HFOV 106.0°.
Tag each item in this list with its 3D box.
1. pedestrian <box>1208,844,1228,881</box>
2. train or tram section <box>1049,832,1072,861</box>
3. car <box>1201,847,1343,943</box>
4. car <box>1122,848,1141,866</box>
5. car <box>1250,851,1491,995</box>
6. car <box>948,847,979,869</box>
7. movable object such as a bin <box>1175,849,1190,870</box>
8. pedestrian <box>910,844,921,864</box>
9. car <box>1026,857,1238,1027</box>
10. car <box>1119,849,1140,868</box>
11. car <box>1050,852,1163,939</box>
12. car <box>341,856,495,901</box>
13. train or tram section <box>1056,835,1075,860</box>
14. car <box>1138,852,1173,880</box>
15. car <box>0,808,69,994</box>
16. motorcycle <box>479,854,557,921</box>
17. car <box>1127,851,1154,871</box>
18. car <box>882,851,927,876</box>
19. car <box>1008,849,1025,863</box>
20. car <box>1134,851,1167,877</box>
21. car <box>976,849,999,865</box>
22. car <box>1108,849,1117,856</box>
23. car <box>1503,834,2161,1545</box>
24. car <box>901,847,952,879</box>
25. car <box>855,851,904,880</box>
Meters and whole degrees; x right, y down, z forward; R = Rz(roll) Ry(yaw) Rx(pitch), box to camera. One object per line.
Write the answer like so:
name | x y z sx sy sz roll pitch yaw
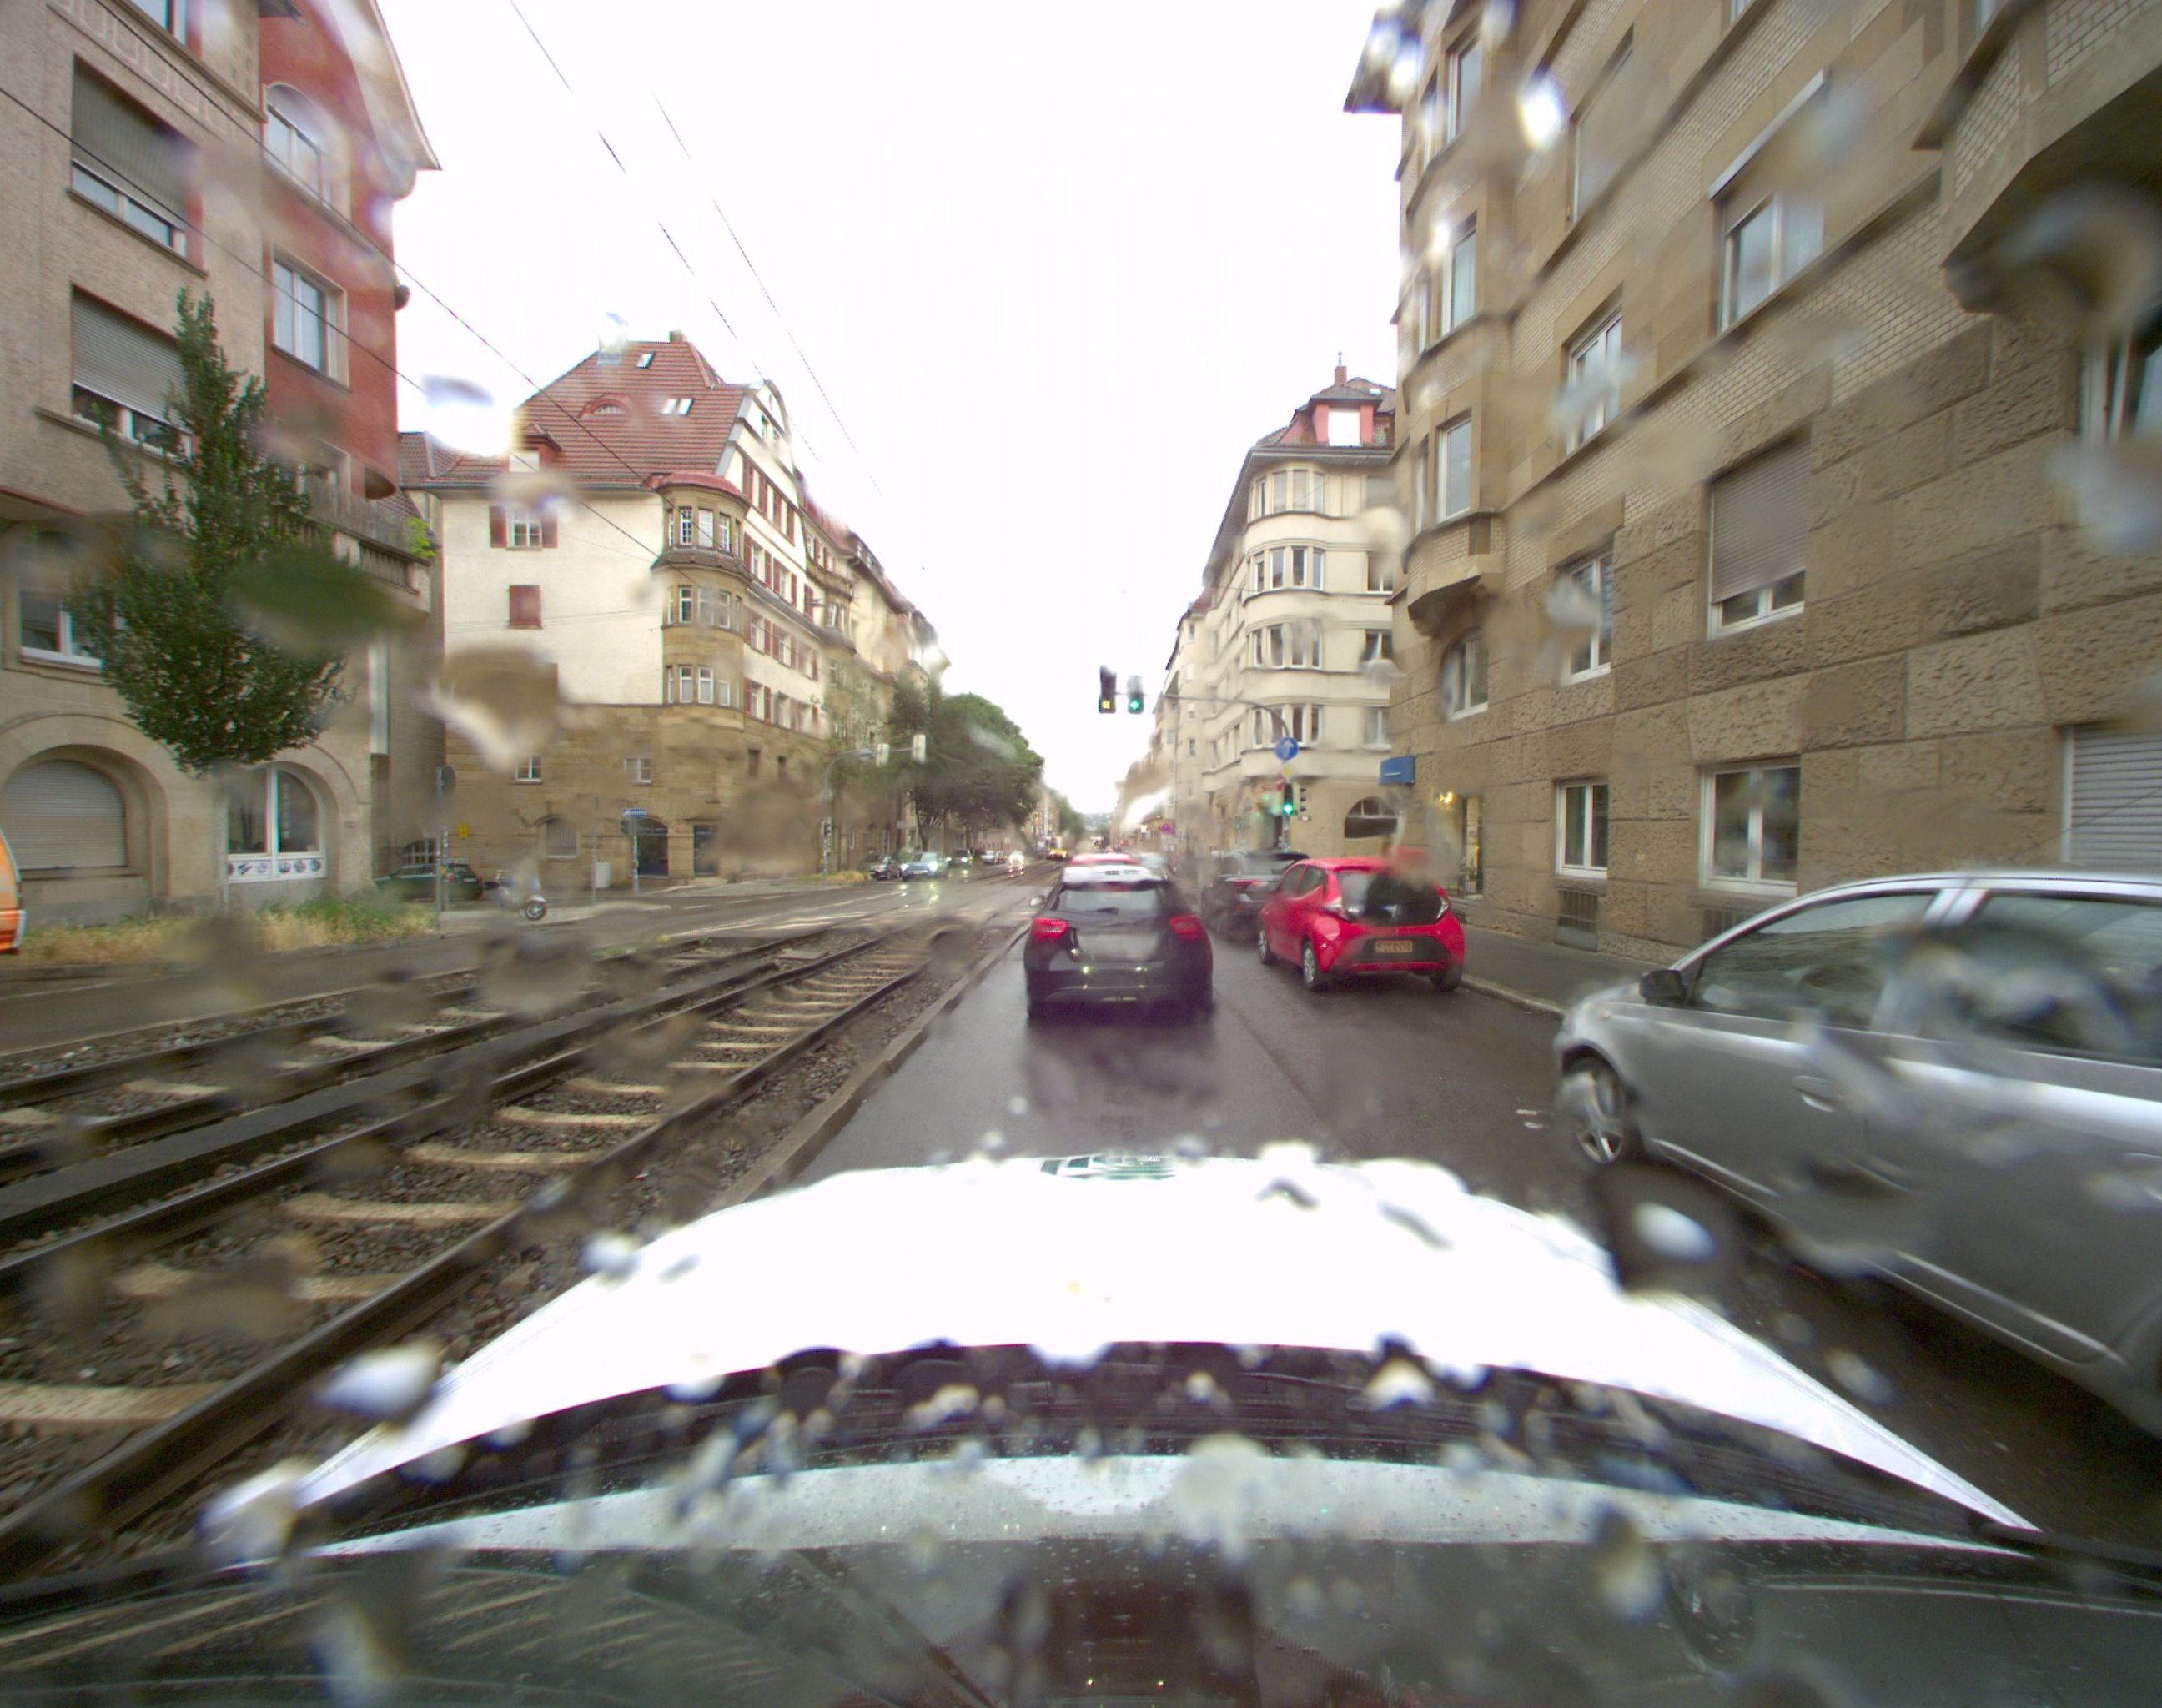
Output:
pedestrian | 6.488 0.401 38.544 0.801 1.687 0.754 -1 -1 1
train or tram section | -3.086 -1.151 125.923 2.736 4.061 17.216 -1 0 1
car | 3.422 0.673 15.366 1.860 1.549 3.992 1 0 2
car | 4.910 0.292 80.298 1.771 1.750 4.551 -1 -1 2
car | 3.327 0.707 10.092 1.700 1.453 3.531 1 0 -1
car | -10.375 0.338 72.021 1.946 1.742 4.778 3 1 0
movable object such as a bin | 7.379 0.414 59.329 0.976 1.468 1.273 -1 -1 1
pedestrian | -14.032 -0.021 69.007 0.726 1.663 0.771 0 0 1
car | 0.504 0.767 8.994 1.828 1.453 3.903 0 0 2
car | 4.401 0.404 74.094 1.833 1.608 4.765 -1 -1 4
car | 0.518 0.731 16.452 1.986 1.525 4.247 1 0 2
car | -24.471 0.897 30.168 3.977 1.574 1.998 -1 -1 -2
train or tram section | -2.624 -1.168 142.085 2.736 4.061 15.663 -1 0 1
car | 3.887 0.610 43.216 1.703 1.410 4.821 -1 -1 3
car | -12.098 0.485 6.772 1.722 1.930 4.476 -1 -1 0
motorcycle | -12.036 0.699 17.401 1.761 1.375 0.772 -1 -1 33
car | 4.456 0.532 61.538 1.783 1.385 4.396 -1 -1 1
car | -11.025 0.579 51.208 1.775 1.460 4.978 -1 -1 0
car | -7.488 0.251 94.843 1.777 1.502 4.058 0 -1 -3
car | 4.087 0.610 48.582 1.705 1.468 4.775 -1 -1 2
car | -10.166 0.309 89.223 1.954 1.605 4.329 1 1 1
car | 6.651 -0.253 172.399 1.879 1.525 4.249 1 0 3
car | 3.079 0.687 2.728 1.588 1.487 3.524 -1 0 2
car | -8.274 0.494 43.914 1.915 1.617 4.128 -1 -1 0
car | -11.220 0.652 45.652 1.684 1.529 4.175 -1 -1 0
